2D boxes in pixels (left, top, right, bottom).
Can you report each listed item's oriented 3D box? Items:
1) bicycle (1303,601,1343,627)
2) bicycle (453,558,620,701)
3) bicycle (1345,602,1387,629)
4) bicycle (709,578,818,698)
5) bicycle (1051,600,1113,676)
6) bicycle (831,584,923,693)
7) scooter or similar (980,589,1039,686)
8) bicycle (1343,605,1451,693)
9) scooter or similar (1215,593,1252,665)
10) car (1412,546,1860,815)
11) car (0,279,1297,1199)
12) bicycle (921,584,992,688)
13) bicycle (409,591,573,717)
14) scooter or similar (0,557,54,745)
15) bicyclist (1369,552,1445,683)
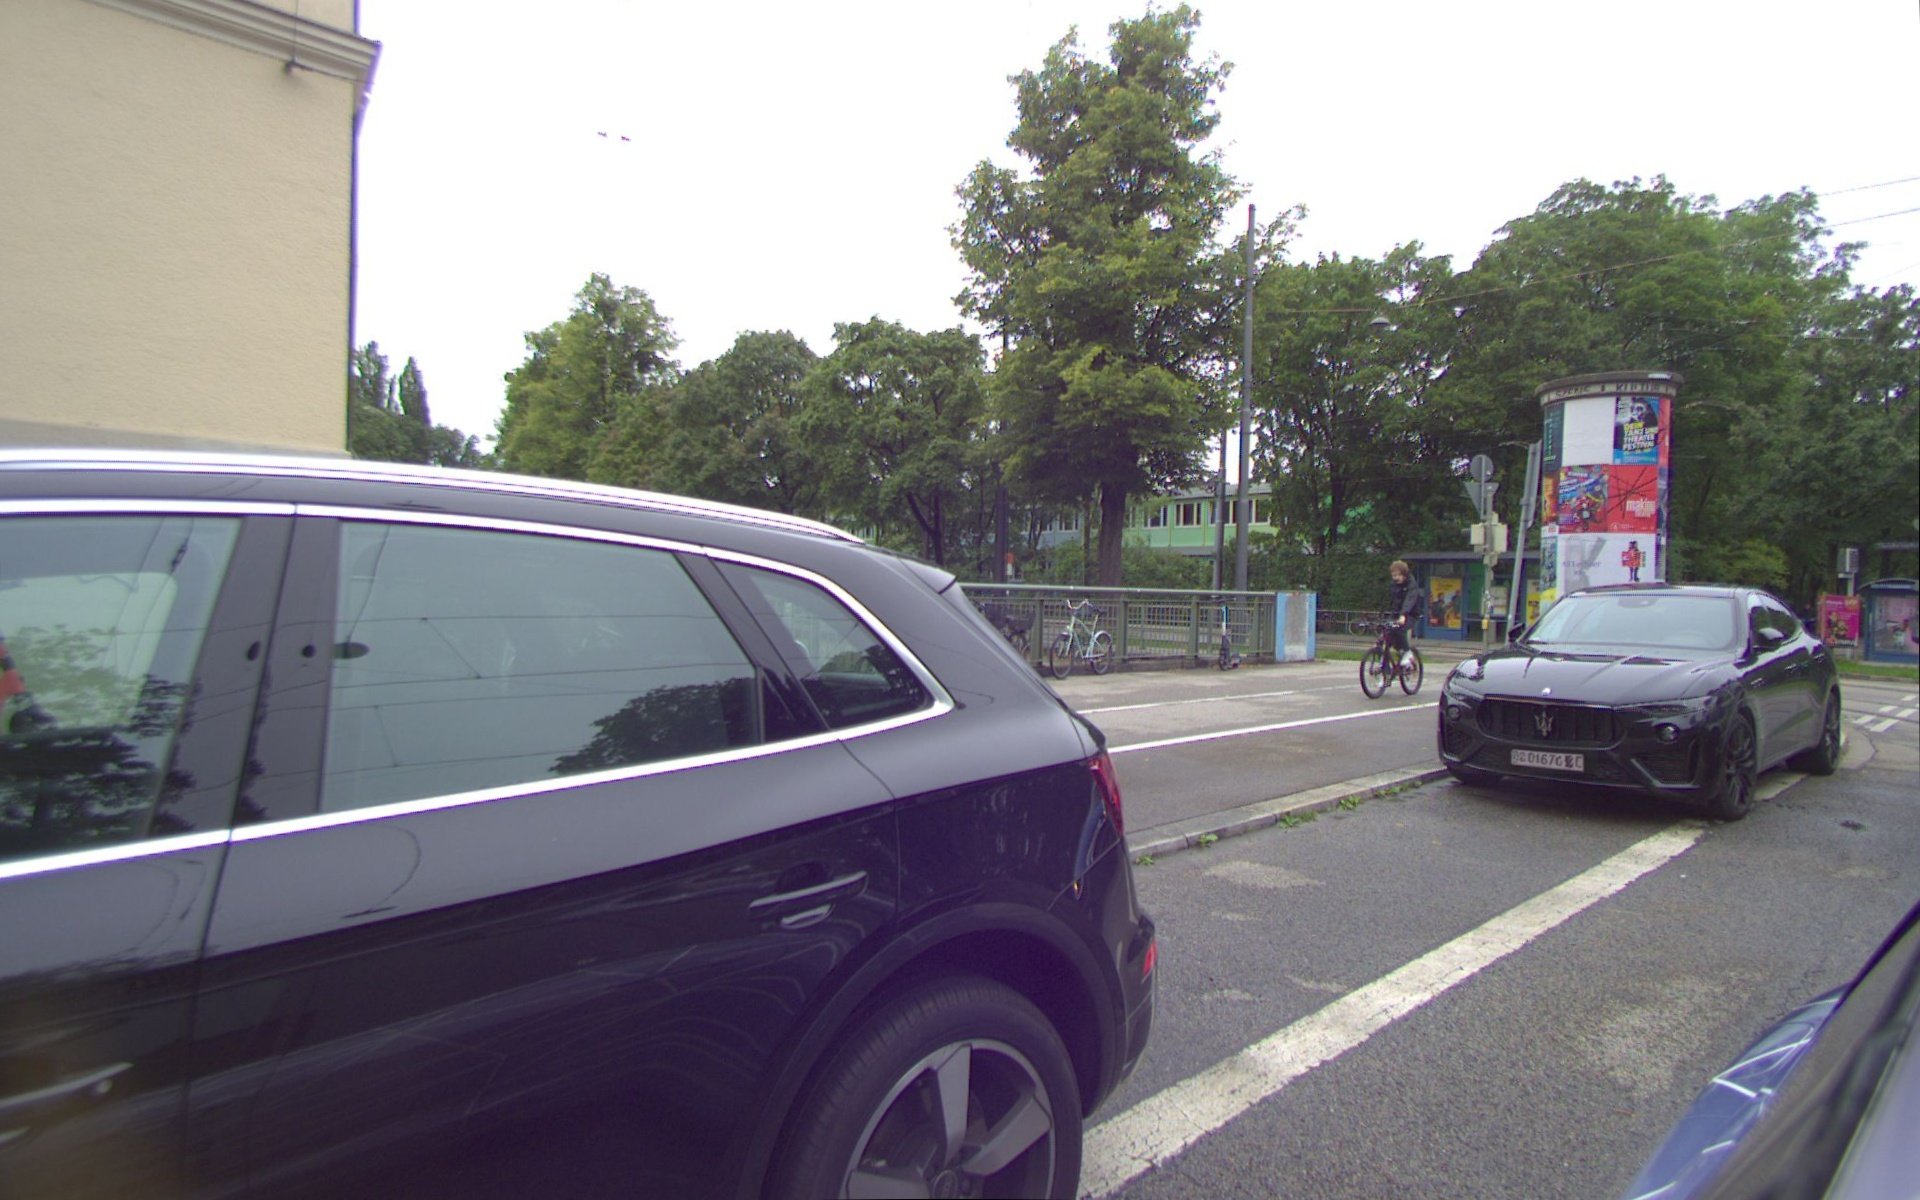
[{"bbox_3d":[14.305,0.555,39.905,0.366,0.964,1.483,0,1,-38],"label":"bicycle"},{"bbox_3d":[-4.163,0.271,10.031,1.511,1.329,0.332,0,-1,-42],"label":"bicycle"},{"bbox_3d":[15.342,0.563,38.241,0.366,0.964,1.483,0,1,-38],"label":"bicycle"},{"bbox_3d":[-2.231,0.413,11.621,0.281,1.298,1.391,-1,-1,38],"label":"bicycle"},{"bbox_3d":[1.849,0.542,15.239,0.263,1.096,1.524,-1,-1,34],"label":"bicycle"},{"bbox_3d":[-1.018,0.455,12.684,0.281,1.298,1.391,-1,-1,38],"label":"bicycle"},{"bbox_3d":[0.705,0.491,14.005,0.242,1.279,1.482,-1,0,27],"label":"scooter or similar"},{"bbox_3d":[6.018,0.639,13.895,1.879,1.091,0.580,0,3,-42],"label":"bicycle"},{"bbox_3d":[4.793,0.497,17.735,0.224,1.227,1.006,-1,-1,40],"label":"scooter or similar"},{"bbox_3d":[5.746,0.513,8.359,4.582,1.630,1.904,1,-1,-40],"label":"car"},{"bbox_3d":[-1.413,0.521,1.753,4.408,1.679,1.778,0,0,-40],"label":"car"},{"bbox_3d":[-0.024,0.449,13.358,0.280,1.298,1.395,-1,-1,29],"label":"bicycle"},{"bbox_3d":[-4.445,0.480,9.670,0.286,1.120,1.421,1,0,42],"label":"bicycle"},{"bbox_3d":[-7.087,0.360,7.066,1.122,1.329,0.261,0,-1,-41],"label":"scooter or similar"},{"bbox_3d":[6.217,0.235,14.070,0.714,1.751,0.725,0,-1,-41],"label":"bicyclist"}]
